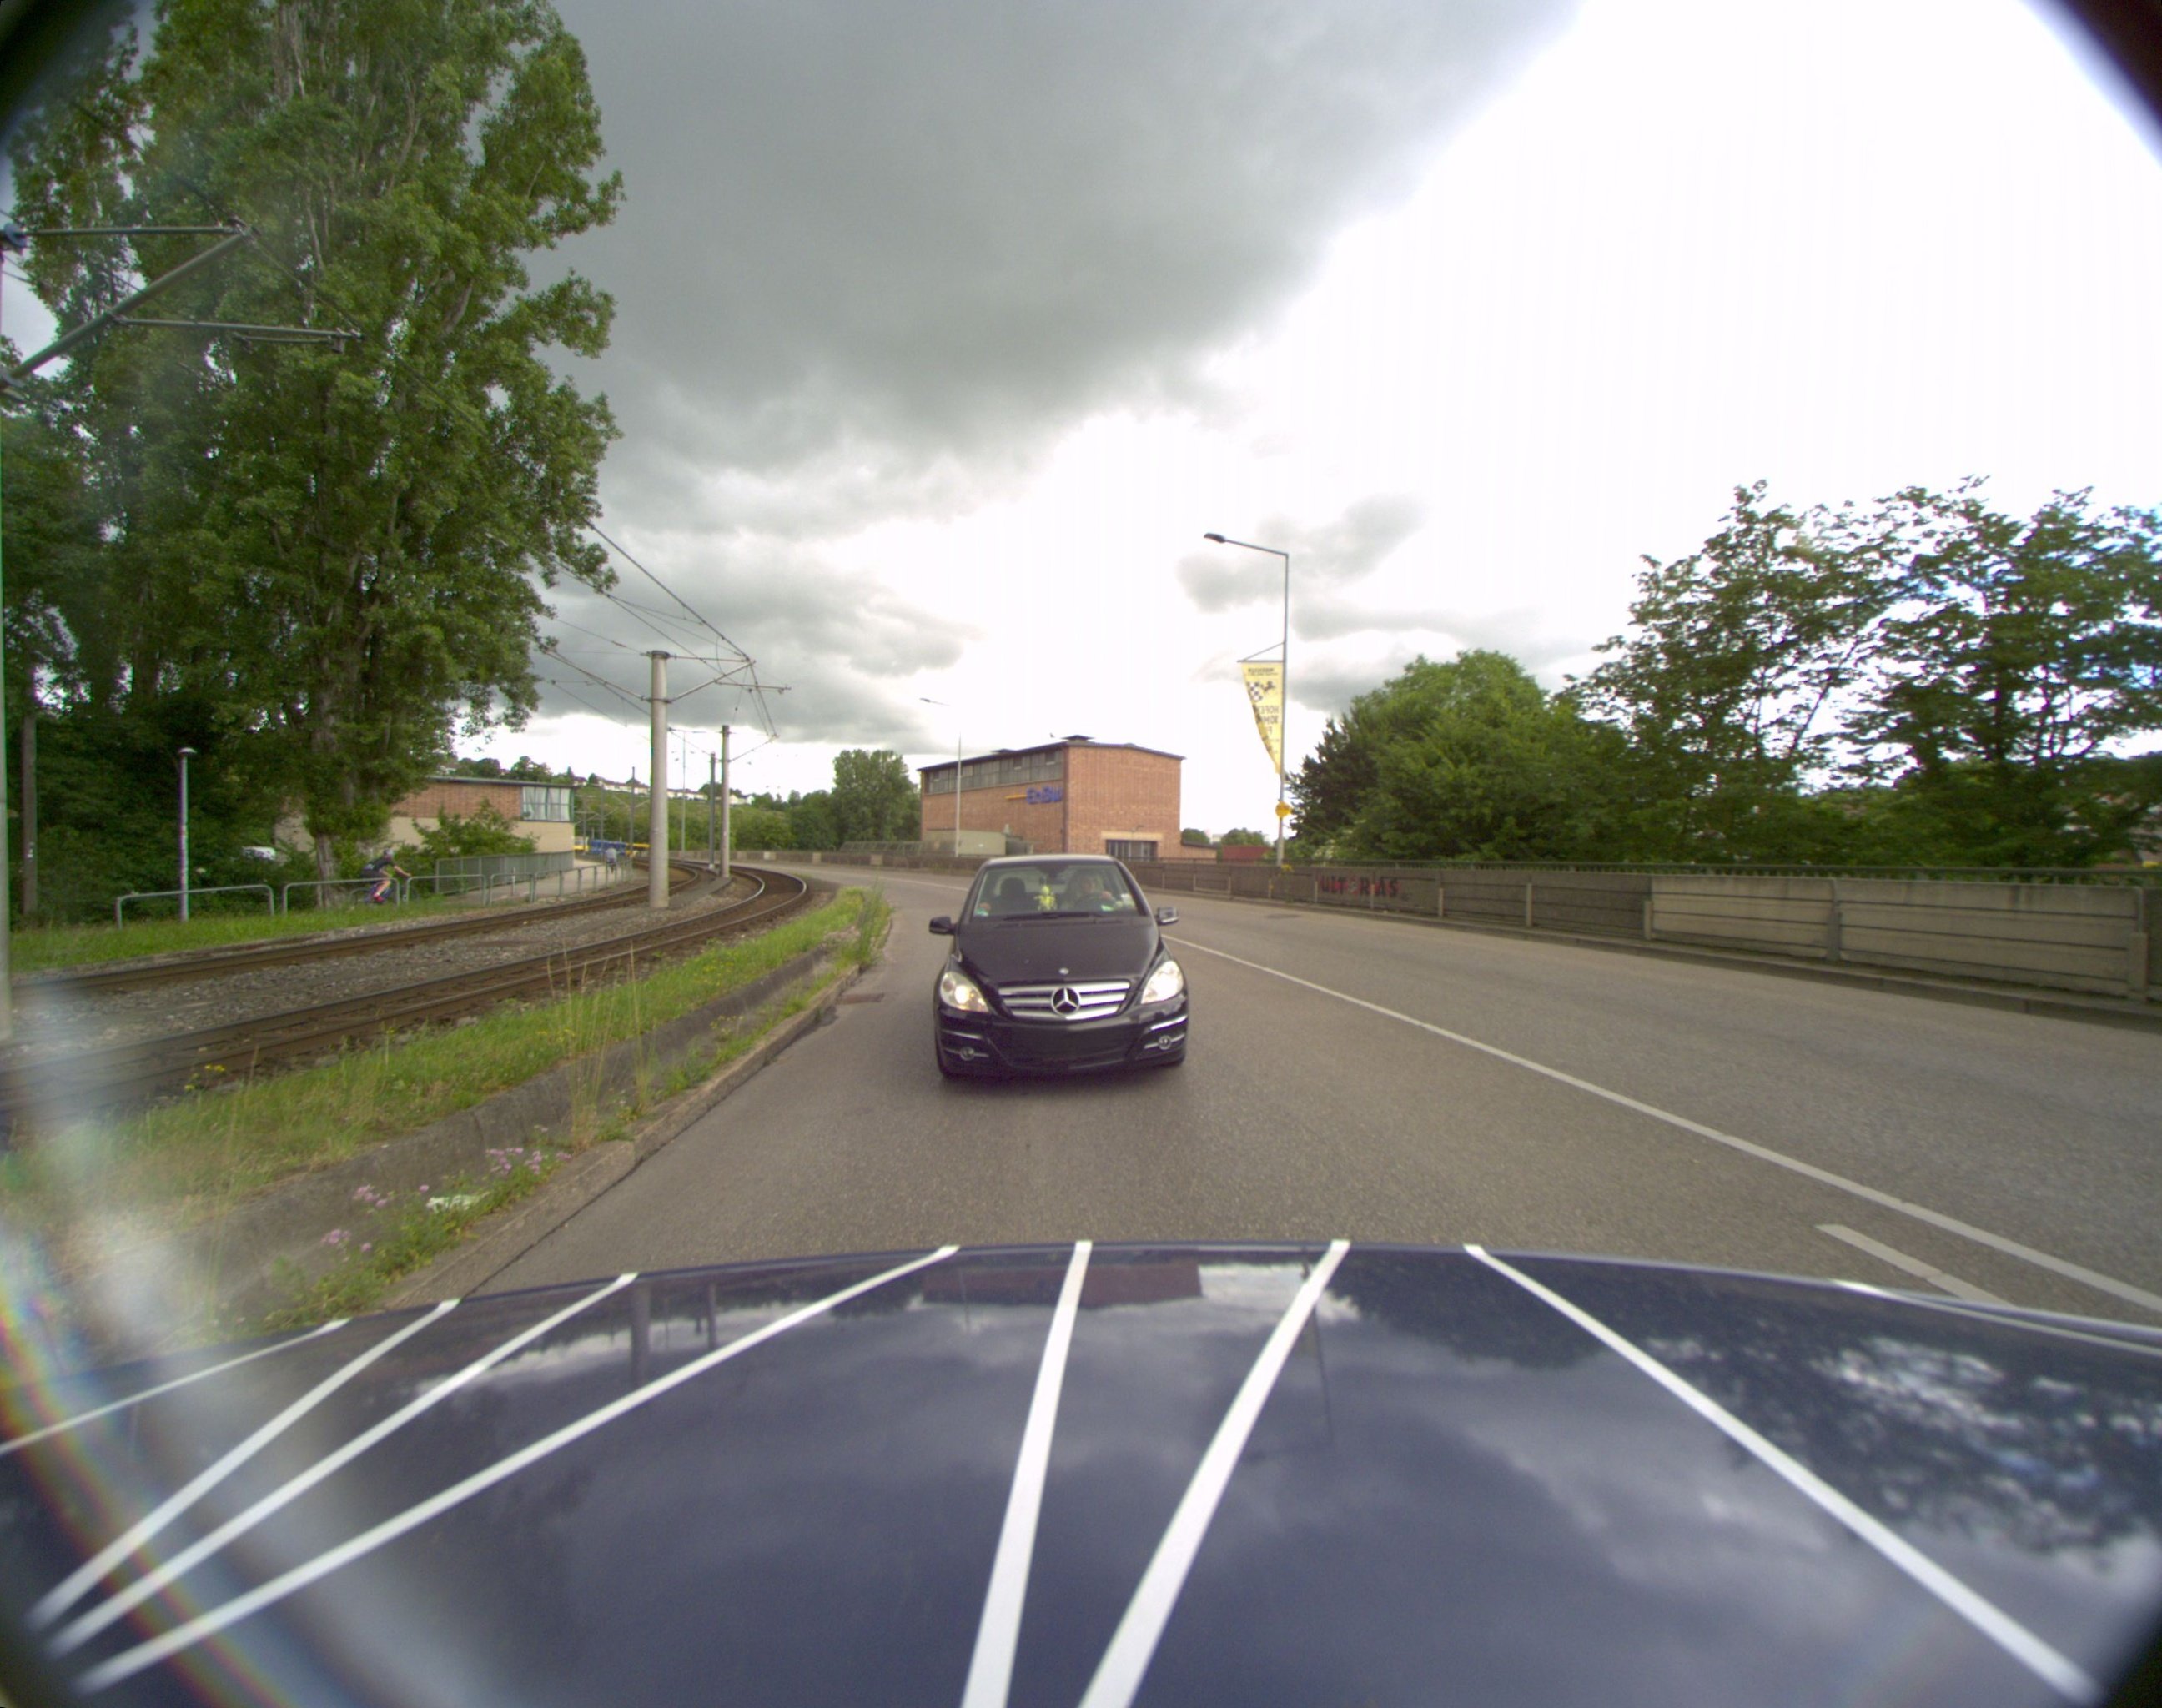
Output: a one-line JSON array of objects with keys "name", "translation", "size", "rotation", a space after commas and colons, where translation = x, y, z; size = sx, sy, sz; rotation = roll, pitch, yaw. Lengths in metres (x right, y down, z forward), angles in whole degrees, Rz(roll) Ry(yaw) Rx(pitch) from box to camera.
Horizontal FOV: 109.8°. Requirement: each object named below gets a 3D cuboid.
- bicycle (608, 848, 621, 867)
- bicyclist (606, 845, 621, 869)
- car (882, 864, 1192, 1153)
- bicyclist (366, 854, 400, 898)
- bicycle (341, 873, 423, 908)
[{"name": "bicycle", "translation": [-26.680, 0.209, 43.464], "size": [0.428, 1.044, 2.075], "rotation": [-2, 1, -27]}, {"name": "bicyclist", "translation": [-26.728, 0.182, 43.442], "size": [0.596, 1.352, 0.908], "rotation": [-2, 1, -28]}, {"name": "car", "translation": [-0.251, 0.959, 6.577], "size": [1.860, 1.612, 3.999], "rotation": [0, 1, 0]}, {"name": "bicyclist", "translation": [-17.444, 0.538, 18.997], "size": [0.416, 1.077, 0.475], "rotation": [0, 1, 16]}, {"name": "bicycle", "translation": [-17.440, 0.899, 18.997], "size": [0.347, 0.790, 1.549], "rotation": [0, 0, 15]}]
